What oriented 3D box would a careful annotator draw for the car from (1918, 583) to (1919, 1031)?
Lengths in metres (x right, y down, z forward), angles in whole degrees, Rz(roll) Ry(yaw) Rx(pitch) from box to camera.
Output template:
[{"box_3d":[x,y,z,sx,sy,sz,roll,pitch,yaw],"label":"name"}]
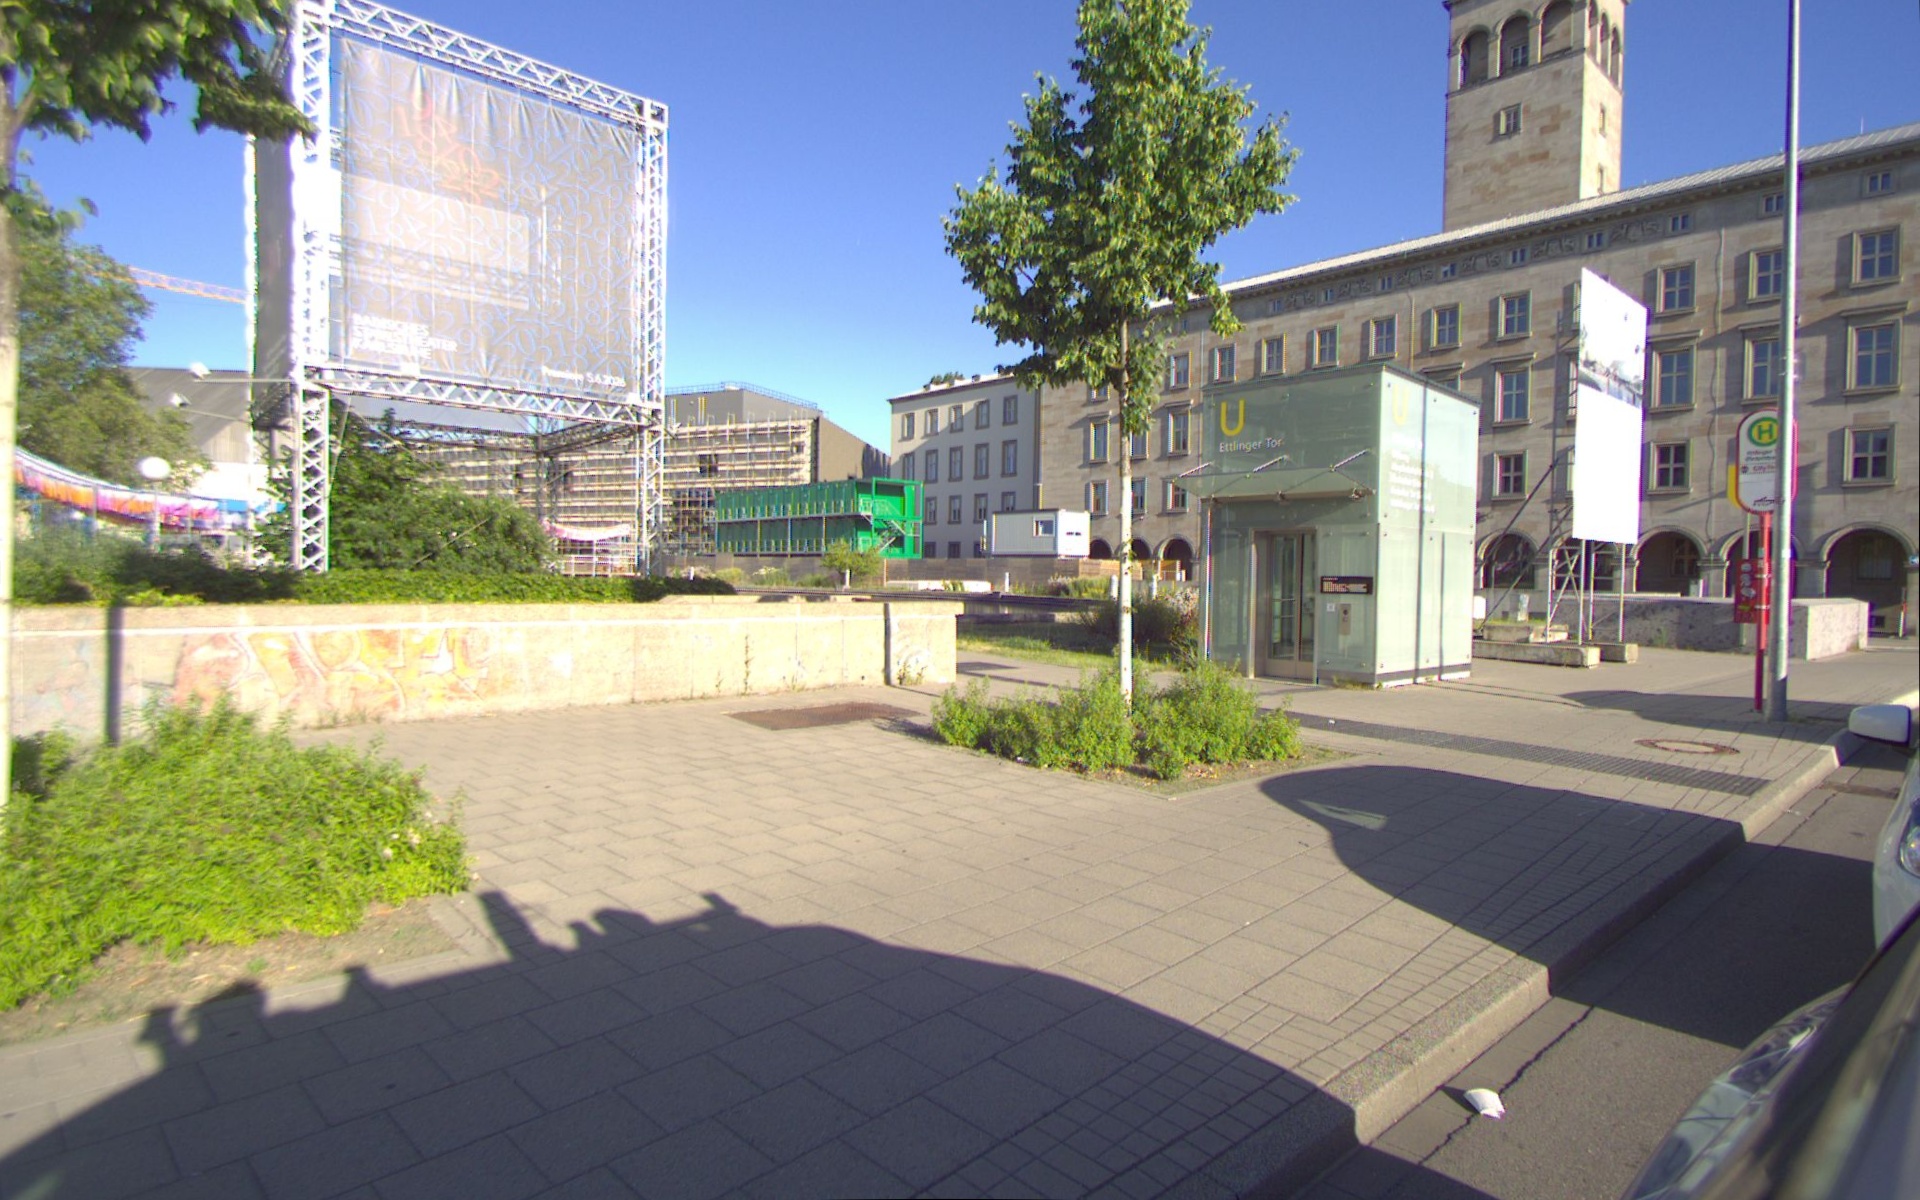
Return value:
[{"box_3d":[5.045,0.708,3.998,3.541,1.504,1.495,0,0,-41],"label":"car"}]
